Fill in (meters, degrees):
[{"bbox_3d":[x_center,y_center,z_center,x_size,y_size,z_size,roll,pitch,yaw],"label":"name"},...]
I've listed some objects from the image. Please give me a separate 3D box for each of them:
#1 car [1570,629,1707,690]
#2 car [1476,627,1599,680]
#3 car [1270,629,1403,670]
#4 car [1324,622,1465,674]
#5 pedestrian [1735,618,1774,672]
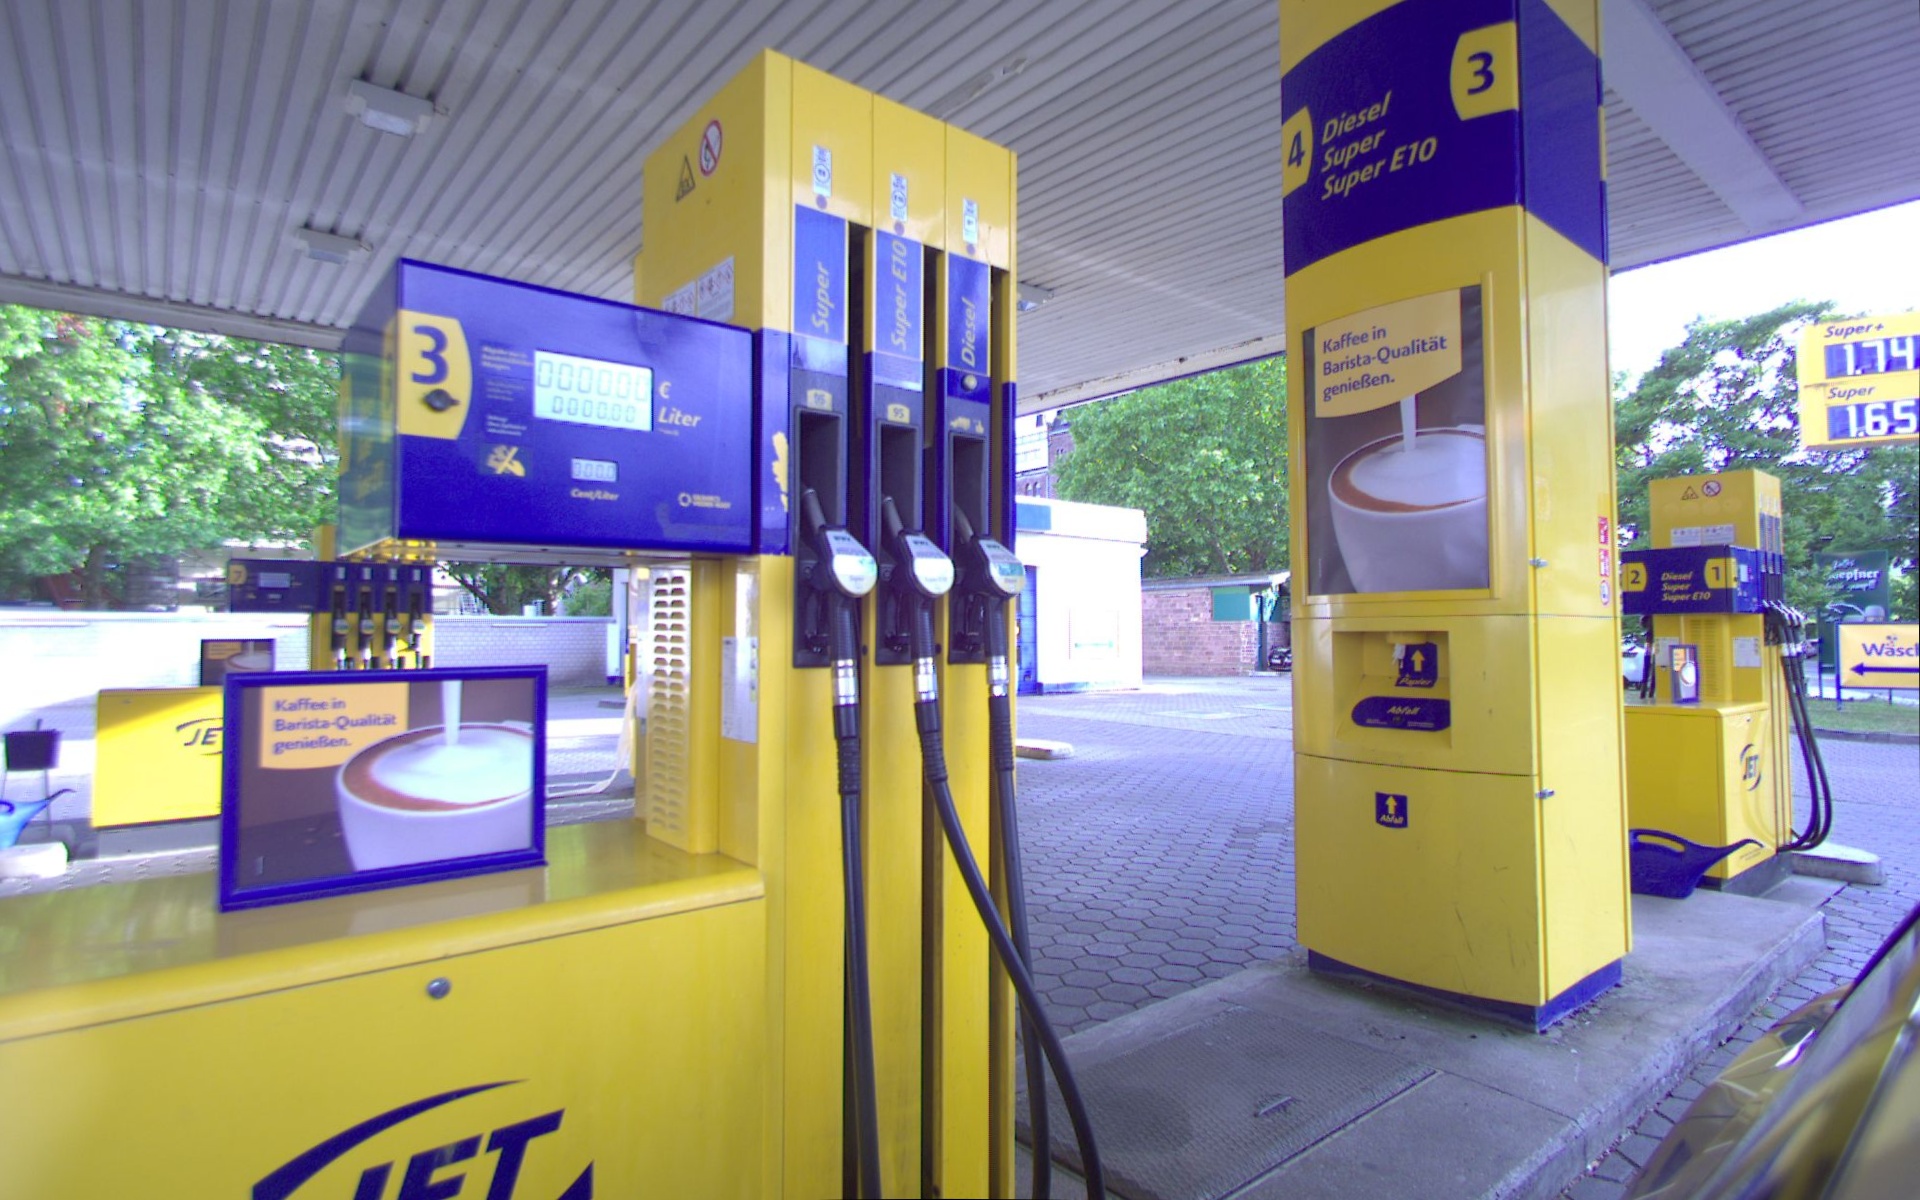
[{"bbox_3d":[18.227,1.561,27.161,3.923,1.529,1.740,2,-3,-35],"label":"car"},{"bbox_3d":[17.561,1.640,30.748,3.923,1.529,1.740,3,-3,-35],"label":"car"},{"bbox_3d":[12.835,1.699,34.497,4.134,1.294,1.751,2,-3,-22],"label":"car"},{"bbox_3d":[13.794,1.547,32.148,4.134,1.544,1.791,2,-3,-24],"label":"car"},{"bbox_3d":[31.019,1.753,39.547,0.923,2.040,1.205,0,-2,25],"label":"pedestrian"}]
